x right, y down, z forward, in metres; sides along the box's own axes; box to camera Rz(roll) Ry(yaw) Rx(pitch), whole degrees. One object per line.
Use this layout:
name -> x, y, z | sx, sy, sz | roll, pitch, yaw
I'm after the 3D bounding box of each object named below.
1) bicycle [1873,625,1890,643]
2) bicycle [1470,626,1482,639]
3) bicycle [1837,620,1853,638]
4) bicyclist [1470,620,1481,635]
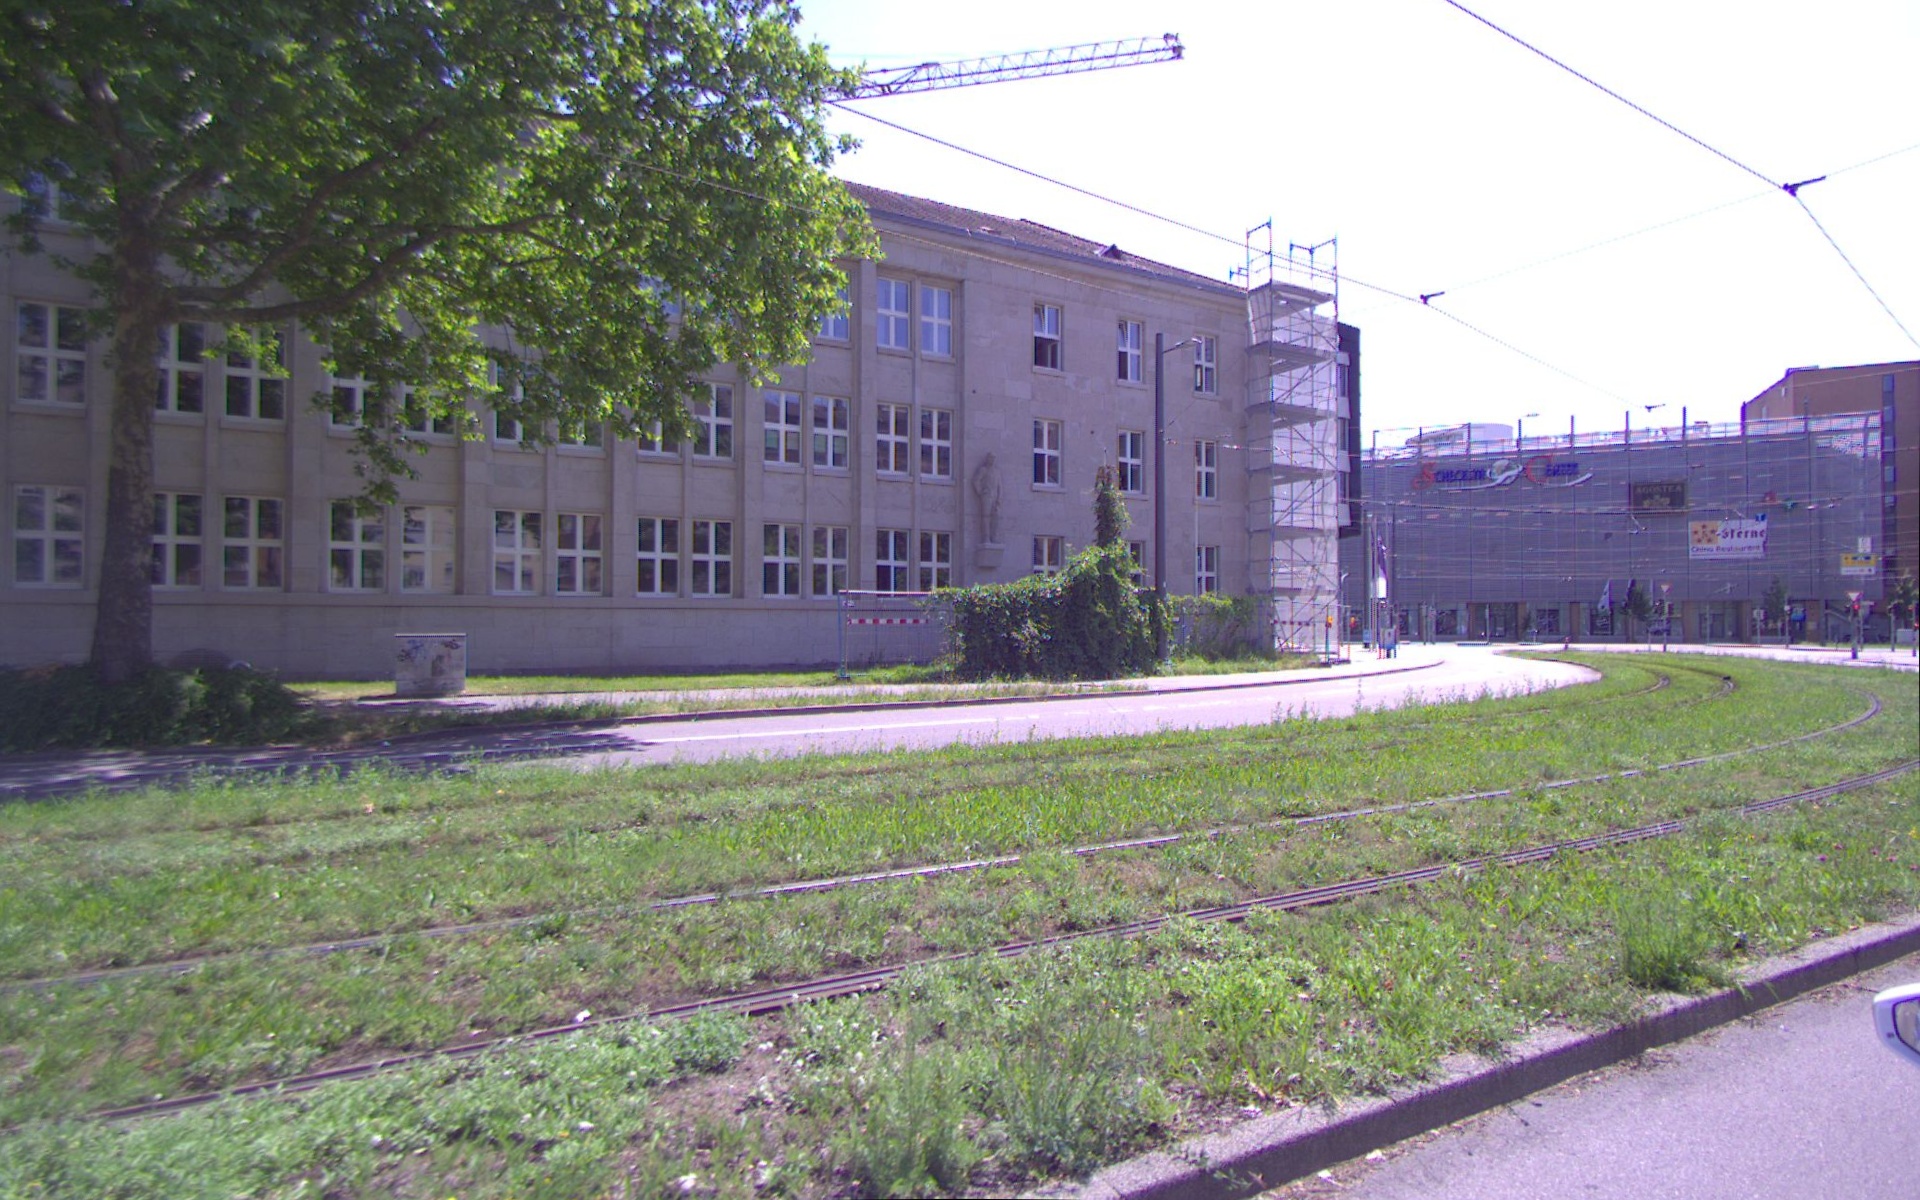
bicycle -> 93.035, 3.400, 101.404 | 0.589, 1.754, 2.258 | 1, 0, 25
bicycle -> 56.840, 3.594, 110.655 | 1.046, 1.409, 3.018 | 1, 0, 30
bicycle -> 90.708, 2.970, 102.984 | 0.589, 1.754, 2.258 | 1, 0, 25
bicyclist -> 56.819, 3.064, 110.605 | 1.024, 1.592, 0.776 | 1, 0, 30
